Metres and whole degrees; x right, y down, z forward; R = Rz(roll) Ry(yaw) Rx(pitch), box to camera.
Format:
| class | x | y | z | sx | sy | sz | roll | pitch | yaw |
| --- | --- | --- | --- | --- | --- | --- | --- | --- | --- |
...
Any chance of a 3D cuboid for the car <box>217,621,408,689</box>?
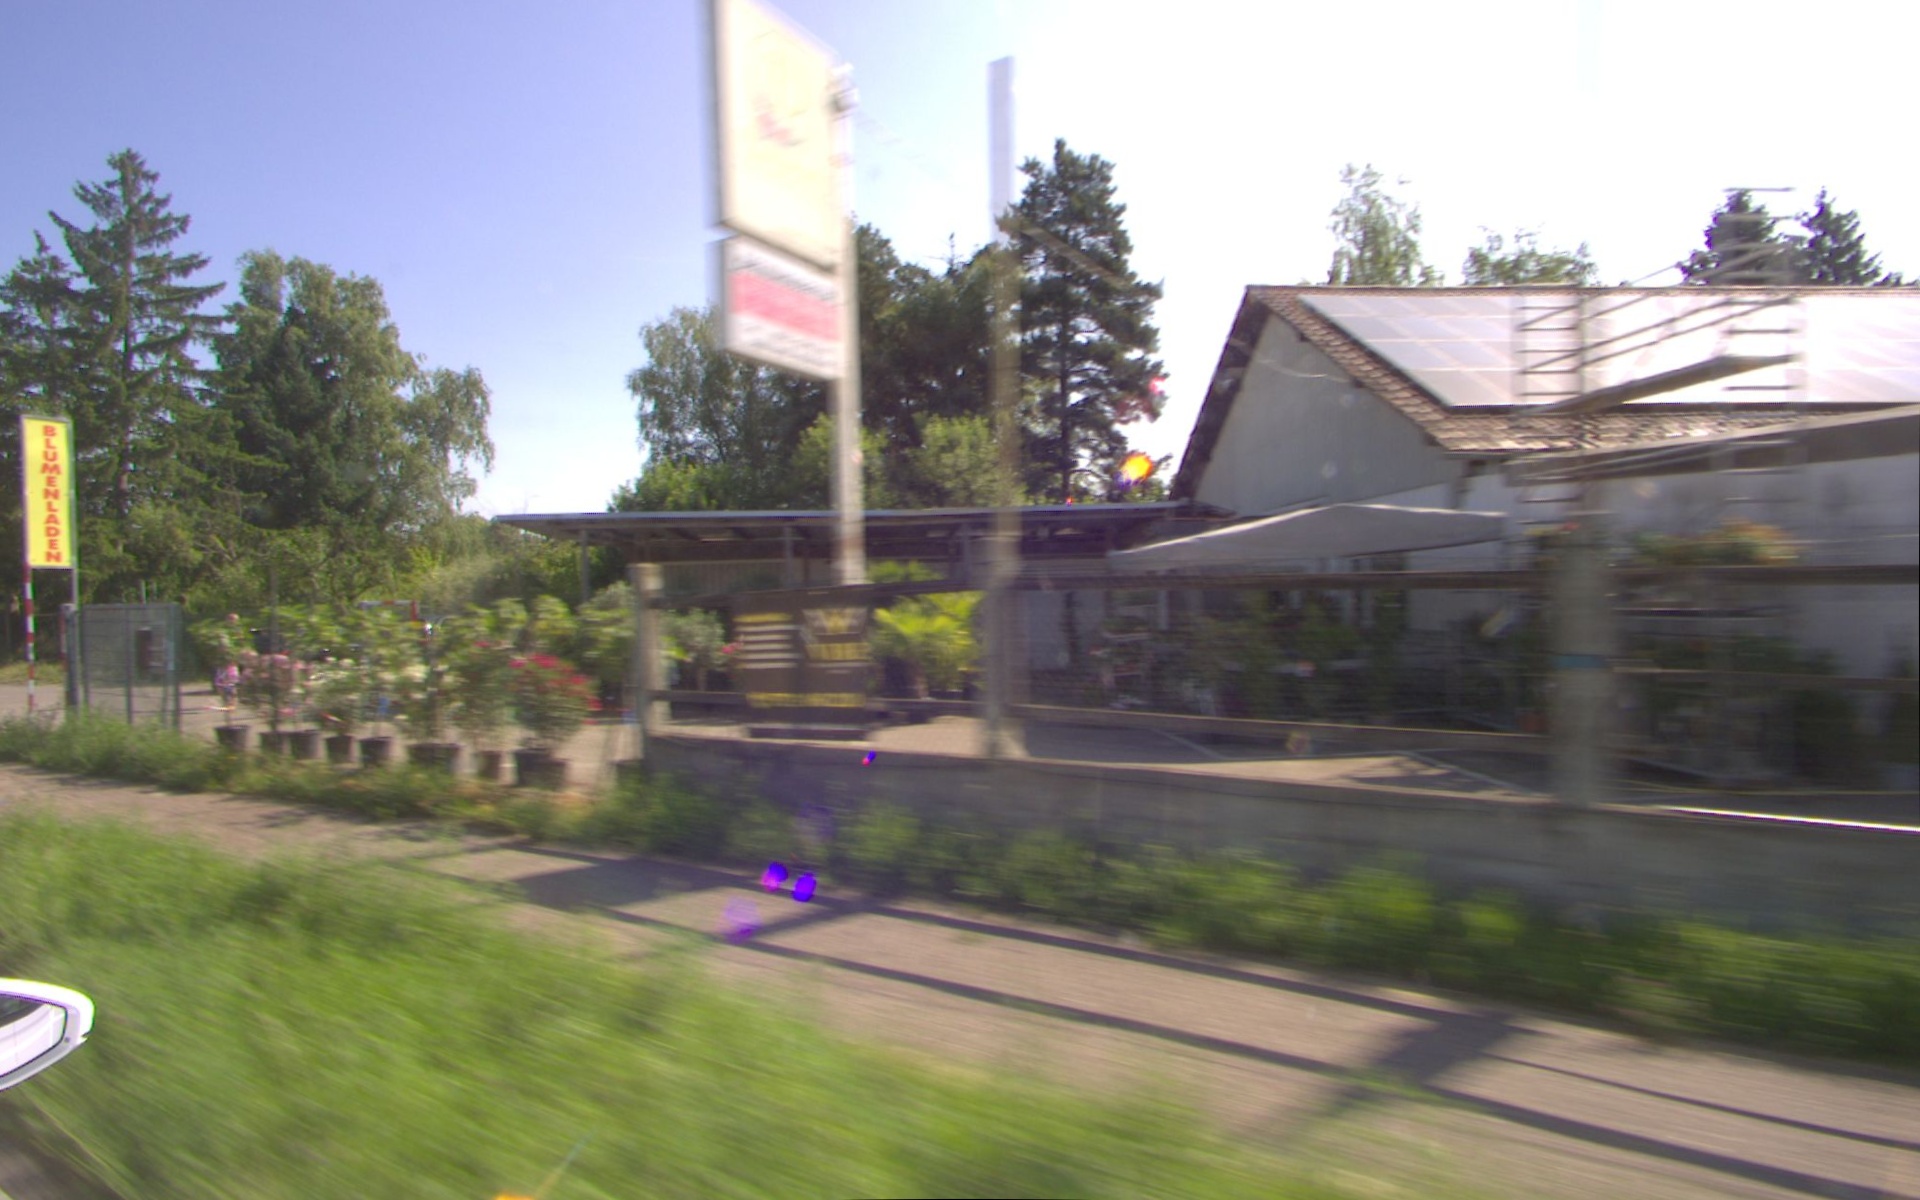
| class | x | y | z | sx | sy | sz | roll | pitch | yaw |
| --- | --- | --- | --- | --- | --- | --- | --- | --- | --- |
| car | -15.860 | 1.298 | 24.854 | 1.682 | 1.449 | 4.464 | 0 | 0 | 3 |

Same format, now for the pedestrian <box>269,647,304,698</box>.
| class | x | y | z | sx | sy | sz | roll | pitch | yaw |
| --- | --- | --- | --- | --- | --- | --- | --- | --- | --- |
| pedestrian | -13.812 | 1.484 | 20.541 | 0.461 | 0.997 | 0.338 | -1 | 1 | -10 |

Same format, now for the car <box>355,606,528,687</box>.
| class | x | y | z | sx | sy | sz | roll | pitch | yaw |
| --- | --- | --- | --- | --- | --- | --- | --- | --- | --- |
| car | -12.788 | 1.081 | 25.074 | 1.828 | 1.827 | 4.464 | 0 | 0 | 3 |

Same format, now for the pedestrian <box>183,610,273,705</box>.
| class | x | y | z | sx | sy | sz | roll | pitch | yaw |
| --- | --- | --- | --- | --- | --- | --- | --- | --- | --- |
| pedestrian | -14.413 | 1.108 | 19.751 | 1.079 | 1.809 | 0.936 | -1 | 1 | -10 |

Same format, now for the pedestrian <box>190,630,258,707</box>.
| class | x | y | z | sx | sy | sz | roll | pitch | yaw |
| --- | --- | --- | --- | --- | --- | --- | --- | --- | --- |
| pedestrian | -13.719 | 1.264 | 18.687 | 0.711 | 1.356 | 0.825 | -1 | 1 | -10 |
